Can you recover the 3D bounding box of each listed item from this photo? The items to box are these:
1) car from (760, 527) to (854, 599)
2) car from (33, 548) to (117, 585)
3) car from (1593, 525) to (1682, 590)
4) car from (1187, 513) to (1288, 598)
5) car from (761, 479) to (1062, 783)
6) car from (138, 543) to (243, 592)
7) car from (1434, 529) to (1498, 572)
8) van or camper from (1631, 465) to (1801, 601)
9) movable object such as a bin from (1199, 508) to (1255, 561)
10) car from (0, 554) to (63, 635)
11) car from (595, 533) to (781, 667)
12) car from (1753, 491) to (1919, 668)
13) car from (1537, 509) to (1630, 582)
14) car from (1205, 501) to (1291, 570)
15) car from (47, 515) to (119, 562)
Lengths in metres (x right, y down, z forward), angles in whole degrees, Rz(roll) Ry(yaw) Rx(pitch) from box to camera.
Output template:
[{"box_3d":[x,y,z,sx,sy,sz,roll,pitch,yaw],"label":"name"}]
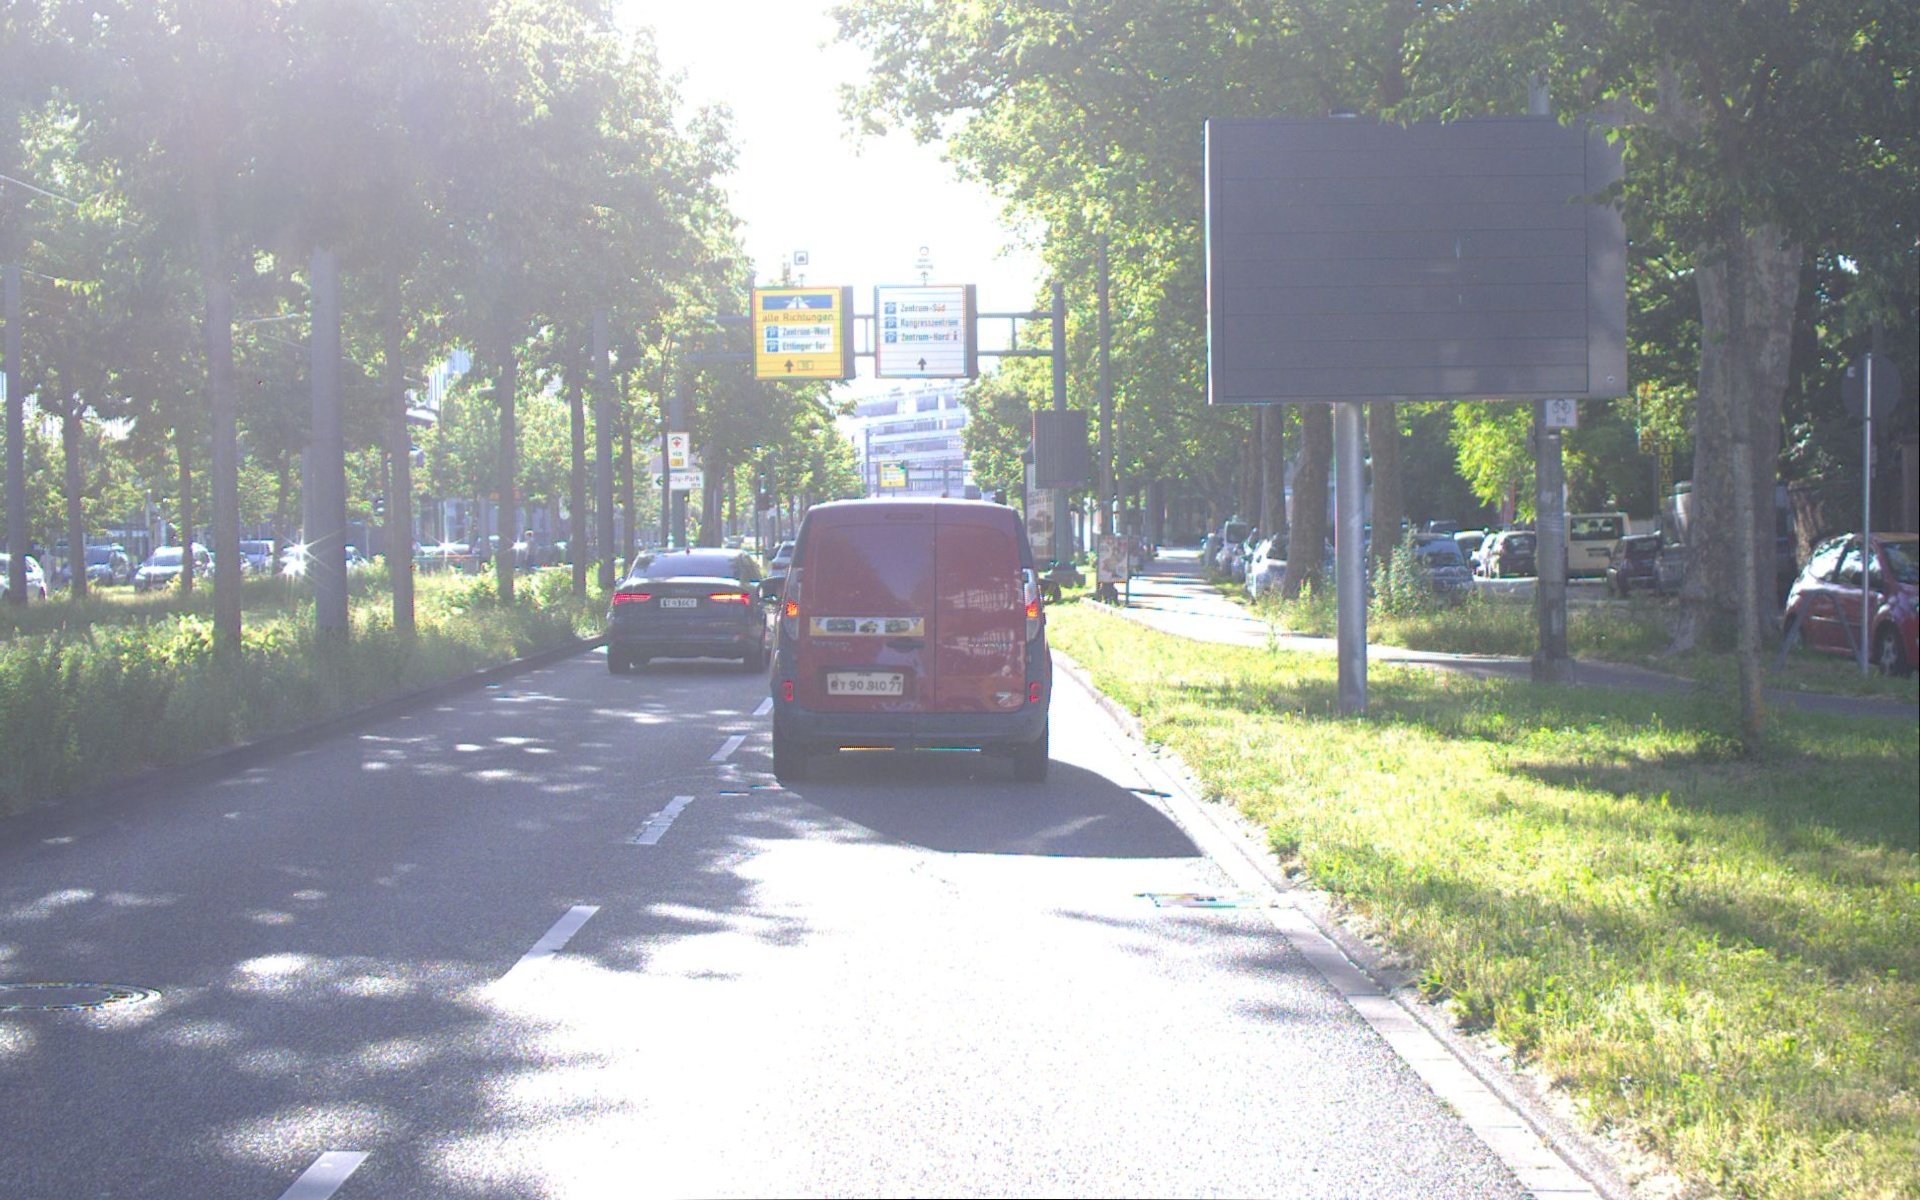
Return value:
[{"box_3d":[-3.538,-0.866,80.309,1.993,1.612,4.000,1,1,0],"label":"car"},{"box_3d":[-33.145,-1.259,128.838,1.912,1.321,4.611,1,1,1],"label":"car"},{"box_3d":[16.469,-1.048,83.723,1.690,1.467,3.757,-3,1,5],"label":"car"},{"box_3d":[5.492,-0.873,68.308,1.793,1.555,4.020,3,1,3],"label":"car"},{"box_3d":[-0.408,0.169,23.024,1.808,1.831,4.001,1,1,-3],"label":"car"},{"box_3d":[-23.583,-1.011,105.562,1.994,1.436,4.702,1,1,2],"label":"car"},{"box_3d":[20.117,-1.964,136.859,1.993,1.634,4.000,1,1,1],"label":"car"},{"box_3d":[16.136,-1.450,73.737,2.557,2.675,6.564,-2,1,4],"label":"van or camper"},{"box_3d":[10.381,-2.545,133.851,2.081,2.007,2.136,1,0,4],"label":"movable object such as a bin"},{"box_3d":[-21.044,-0.150,74.325,1.993,1.680,5.111,1,1,-1],"label":"car"},{"box_3d":[-3.062,-0.024,39.352,1.792,1.423,4.000,1,1,0],"label":"car"},{"box_3d":[9.485,-0.196,33.909,1.993,1.634,4.001,1,1,-6],"label":"car"},{"box_3d":[17.595,-1.545,97.189,2.087,2.007,4.942,0,1,4],"label":"car"},{"box_3d":[8.754,-1.937,104.970,2.190,2.007,5.820,1,1,1],"label":"car"},{"box_3d":[-39.756,-2.779,155.970,1.993,2.007,4.563,2,1,1],"label":"car"}]
